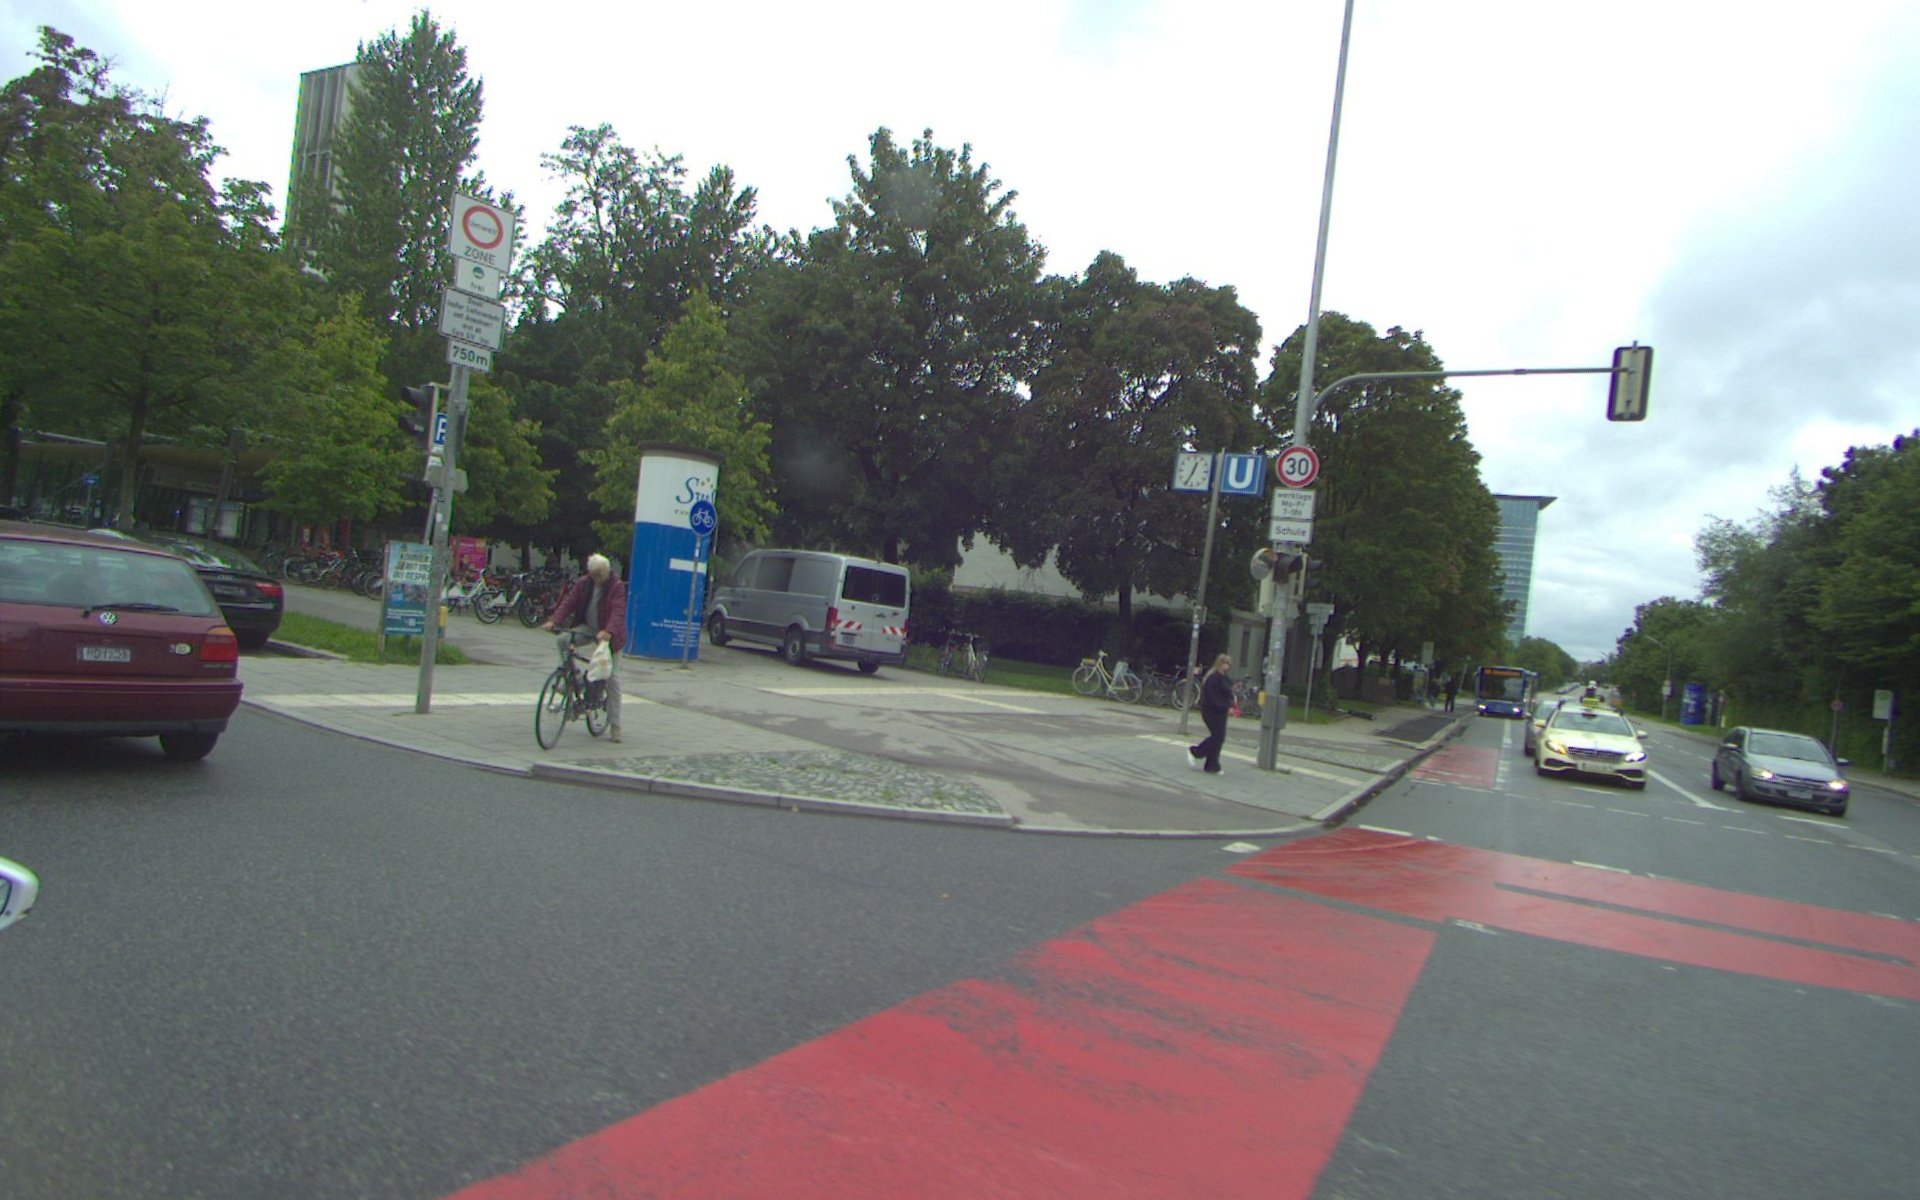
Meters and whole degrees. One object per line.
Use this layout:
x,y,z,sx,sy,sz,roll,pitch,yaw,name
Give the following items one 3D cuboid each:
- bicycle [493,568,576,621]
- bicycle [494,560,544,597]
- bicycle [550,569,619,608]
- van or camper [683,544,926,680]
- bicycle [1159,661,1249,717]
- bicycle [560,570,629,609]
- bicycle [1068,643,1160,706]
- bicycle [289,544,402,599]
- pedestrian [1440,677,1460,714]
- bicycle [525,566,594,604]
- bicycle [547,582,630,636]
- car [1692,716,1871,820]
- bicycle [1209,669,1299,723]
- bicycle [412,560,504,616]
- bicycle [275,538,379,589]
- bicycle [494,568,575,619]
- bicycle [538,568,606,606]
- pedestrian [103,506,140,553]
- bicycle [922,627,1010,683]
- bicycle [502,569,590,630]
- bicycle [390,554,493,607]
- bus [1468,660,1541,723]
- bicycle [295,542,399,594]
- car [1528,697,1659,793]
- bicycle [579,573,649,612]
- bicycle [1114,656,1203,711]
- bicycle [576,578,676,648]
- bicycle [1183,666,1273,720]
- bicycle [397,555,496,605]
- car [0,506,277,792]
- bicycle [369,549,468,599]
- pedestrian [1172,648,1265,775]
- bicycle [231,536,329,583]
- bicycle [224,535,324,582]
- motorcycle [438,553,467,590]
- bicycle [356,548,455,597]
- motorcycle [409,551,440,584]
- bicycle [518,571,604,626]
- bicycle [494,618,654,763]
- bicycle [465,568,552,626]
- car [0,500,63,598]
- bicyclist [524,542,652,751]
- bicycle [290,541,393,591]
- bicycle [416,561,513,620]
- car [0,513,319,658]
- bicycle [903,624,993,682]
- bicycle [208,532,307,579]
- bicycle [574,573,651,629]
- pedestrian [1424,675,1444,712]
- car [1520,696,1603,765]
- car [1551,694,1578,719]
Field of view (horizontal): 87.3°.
-10.367,-0.125,24.573,0.558,1.157,1.807,7,1,31,bicycle
-16.665,-0.803,37.965,2.308,1.173,0.527,7,3,34,bicycle
-12.885,-0.381,34.627,0.520,1.173,2.340,7,2,30,bicycle
-3.597,0.153,21.997,2.133,2.324,6.128,7,-1,-41,van or camper
6.195,2.259,25.662,2.084,1.108,0.607,6,0,41,bicycle
-12.422,-0.331,34.268,0.520,1.173,2.340,7,2,30,bicycle
3.784,1.827,24.850,2.074,1.266,0.703,7,0,5,bicycle
-15.173,-0.693,24.927,0.575,1.173,2.340,7,2,31,bicycle
25.716,5.013,52.743,0.599,1.849,0.704,7,0,41,pedestrian
-14.155,-0.519,35.633,0.520,1.173,2.340,7,2,30,bicycle
-7.989,0.212,21.722,0.557,1.085,1.811,6,1,20,bicycle
16.276,3.255,20.166,1.598,1.471,3.949,7,-1,23,car
7.663,2.502,26.313,2.083,1.108,0.607,6,0,39,bicycle
-11.762,-0.258,23.625,0.558,1.157,1.805,7,1,36,bicycle
-17.145,-0.968,27.307,0.520,1.173,2.340,7,2,30,bicycle
-10.671,-0.147,25.268,0.558,1.157,1.807,7,1,31,bicycle
-13.598,-0.452,35.354,0.520,1.173,2.340,7,2,30,bicycle
-29.611,-2.495,35.542,0.681,1.531,0.580,7,0,13,pedestrian
0.141,1.390,25.636,2.094,1.167,0.697,7,0,34,bicycle
-9.109,0.007,22.209,0.557,1.227,1.944,6,1,20,bicycle
-13.360,-0.482,26.003,0.575,1.173,2.340,7,2,31,bicycle
34.417,5.786,63.336,2.689,3.321,11.863,7,-1,34,bus
-16.241,-0.826,26.726,0.520,1.173,2.340,7,2,30,bicycle
13.219,2.948,21.236,1.854,1.515,4.310,7,-1,28,car
-11.487,-0.232,33.467,0.520,1.173,2.340,7,2,30,bicycle
5.013,2.113,25.527,2.083,1.108,0.607,6,0,39,bicycle
-6.833,0.265,20.570,1.968,1.214,0.861,7,1,35,bicycle
6.922,2.391,26.068,2.083,1.108,0.607,6,0,39,bicycle
-13.629,-0.508,26.798,0.575,1.173,2.340,7,2,31,bicycle
-6.420,0.119,6.598,3.883,1.471,1.625,6,-1,31,car
-14.602,-0.673,27.208,0.575,1.173,2.340,7,2,31,bicycle
3.470,1.494,13.513,0.687,1.558,0.729,6,3,-40,pedestrian
-19.256,-1.126,28.552,0.519,1.173,2.343,7,2,23,bicycle
-19.898,-1.189,29.224,0.520,1.173,2.340,7,2,30,bicycle
-18.404,-1.039,36.476,0.652,1.192,1.797,7,0,-33,motorcycle
-15.114,-0.732,27.515,0.575,1.173,2.340,7,2,31,bicycle
-19.243,-1.152,36.169,0.649,1.075,1.805,7,0,-20,motorcycle
-9.475,-0.026,23.933,0.558,1.157,1.805,7,1,36,bicycle
-3.467,0.766,9.251,0.734,1.094,1.946,7,-1,-4,bicycle
-9.863,-0.048,22.052,0.557,1.157,1.811,6,1,20,bicycle
-17.861,-1.097,17.726,4.307,1.566,1.716,6,-1,30,car
-3.428,0.421,9.336,0.733,1.785,0.827,7,0,-4,bicyclist
-16.627,-0.892,27.129,0.520,1.173,2.340,7,2,30,bicycle
-11.153,-0.201,22.691,0.559,1.157,1.803,7,1,40,bicycle
-10.804,-0.222,13.473,4.542,1.376,1.714,7,-1,29,car
-0.304,1.306,24.944,2.094,1.167,0.717,7,0,34,bicycle
-20.748,-1.286,29.753,0.520,1.173,2.340,7,2,30,bicycle
-8.322,0.048,24.190,0.557,1.227,1.944,6,1,20,bicycle
24.493,4.839,52.000,0.599,1.849,0.704,7,0,40,pedestrian
16.309,3.482,27.429,1.599,1.471,3.945,7,-1,28,car
58.242,10.242,96.962,1.967,2.038,3.992,6,-1,32,car
